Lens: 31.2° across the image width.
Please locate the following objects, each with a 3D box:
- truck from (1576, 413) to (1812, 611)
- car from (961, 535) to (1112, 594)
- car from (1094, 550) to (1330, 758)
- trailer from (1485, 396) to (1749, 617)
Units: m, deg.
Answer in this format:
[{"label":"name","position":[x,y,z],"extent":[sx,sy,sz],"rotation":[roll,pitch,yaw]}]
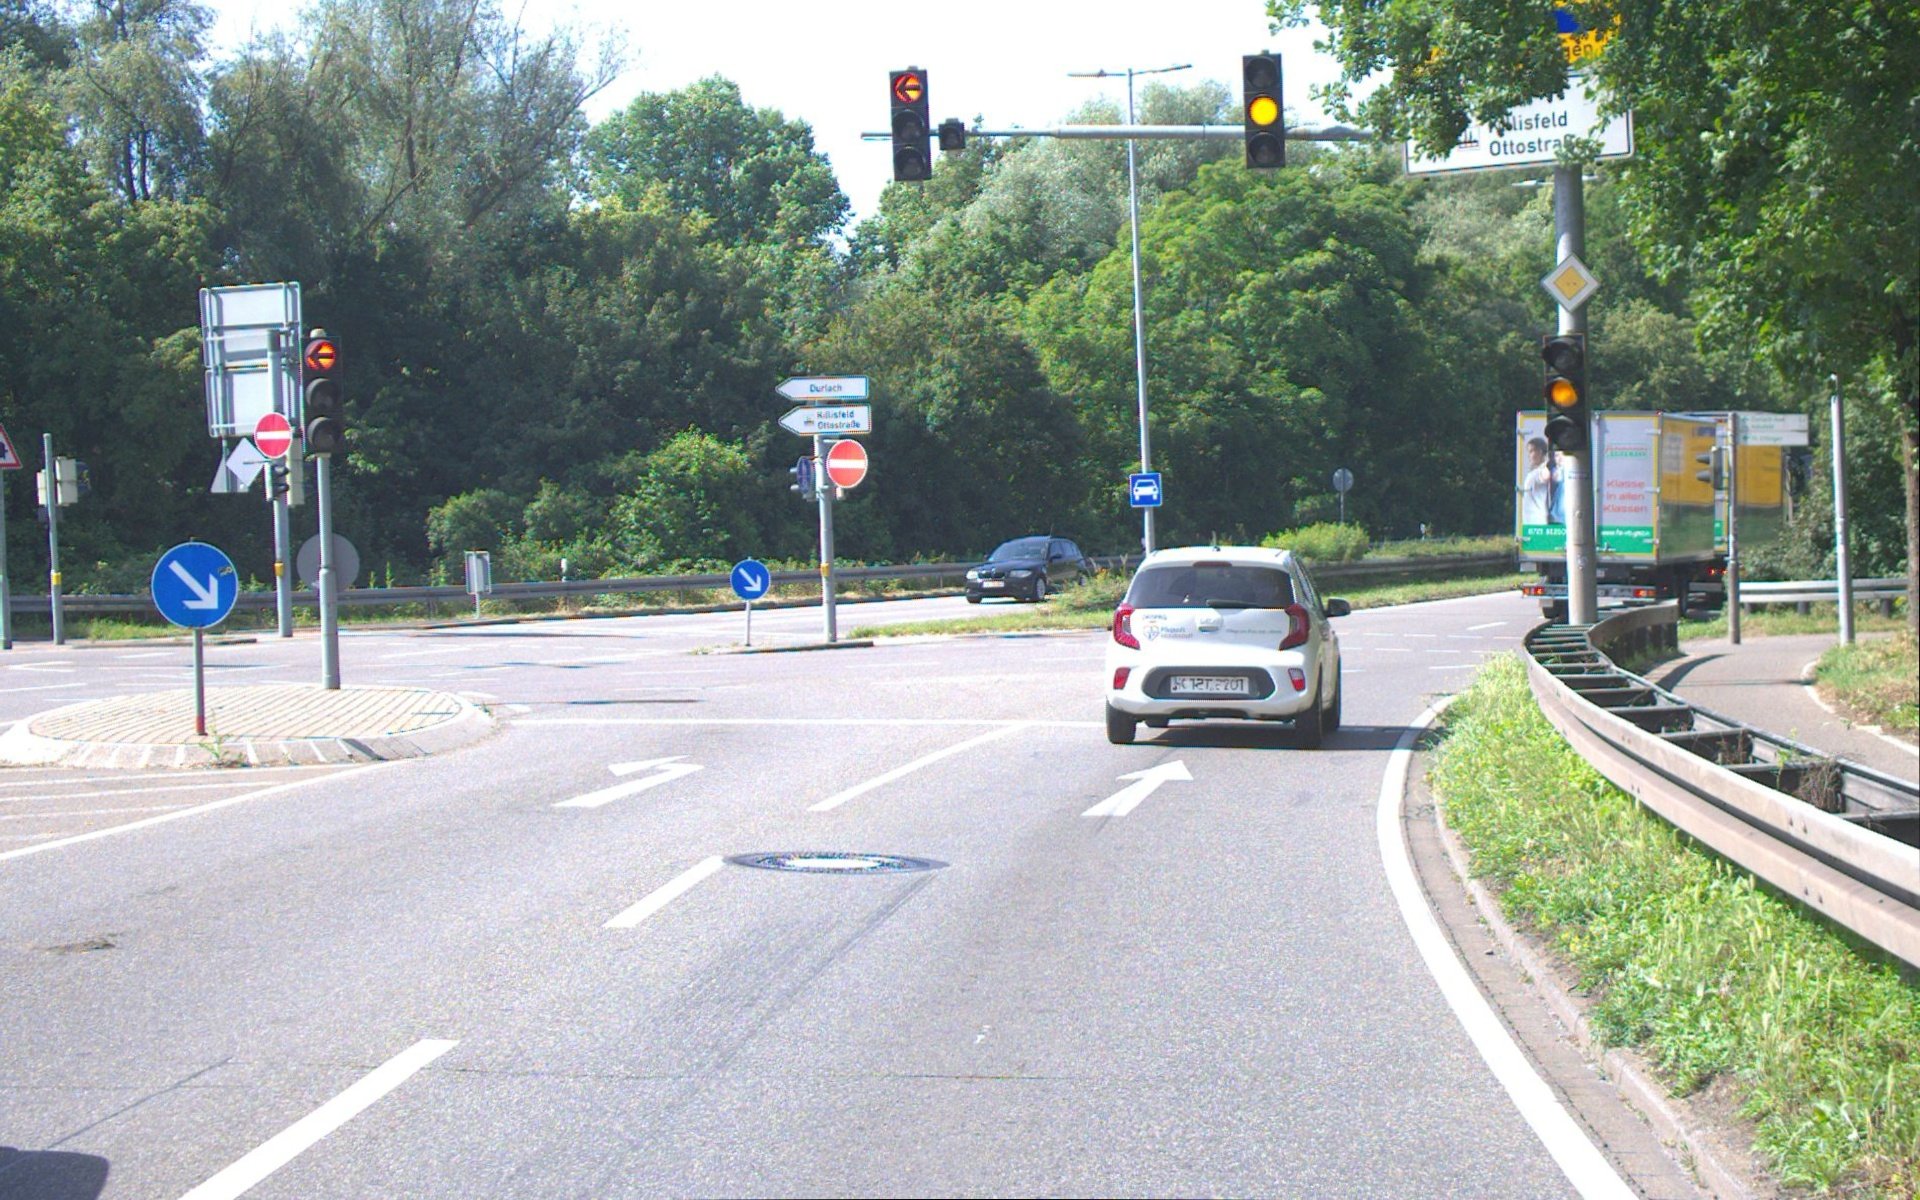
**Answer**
[{"label":"truck","position":[15.188,-1.777,70.619],"extent":[3.264,3.745,8.361],"rotation":[2,1,22]},{"label":"car","position":[1.776,-0.807,78.123],"extent":[1.996,1.312,3.995],"rotation":[0,0,25]},{"label":"car","position":[1.979,0.364,27.117],"extent":[1.702,1.489,4.000],"rotation":[1,1,4]},{"label":"trailer","position":[12.190,-1.679,63.174],"extent":[3.228,3.745,7.816],"rotation":[2,1,22]}]
